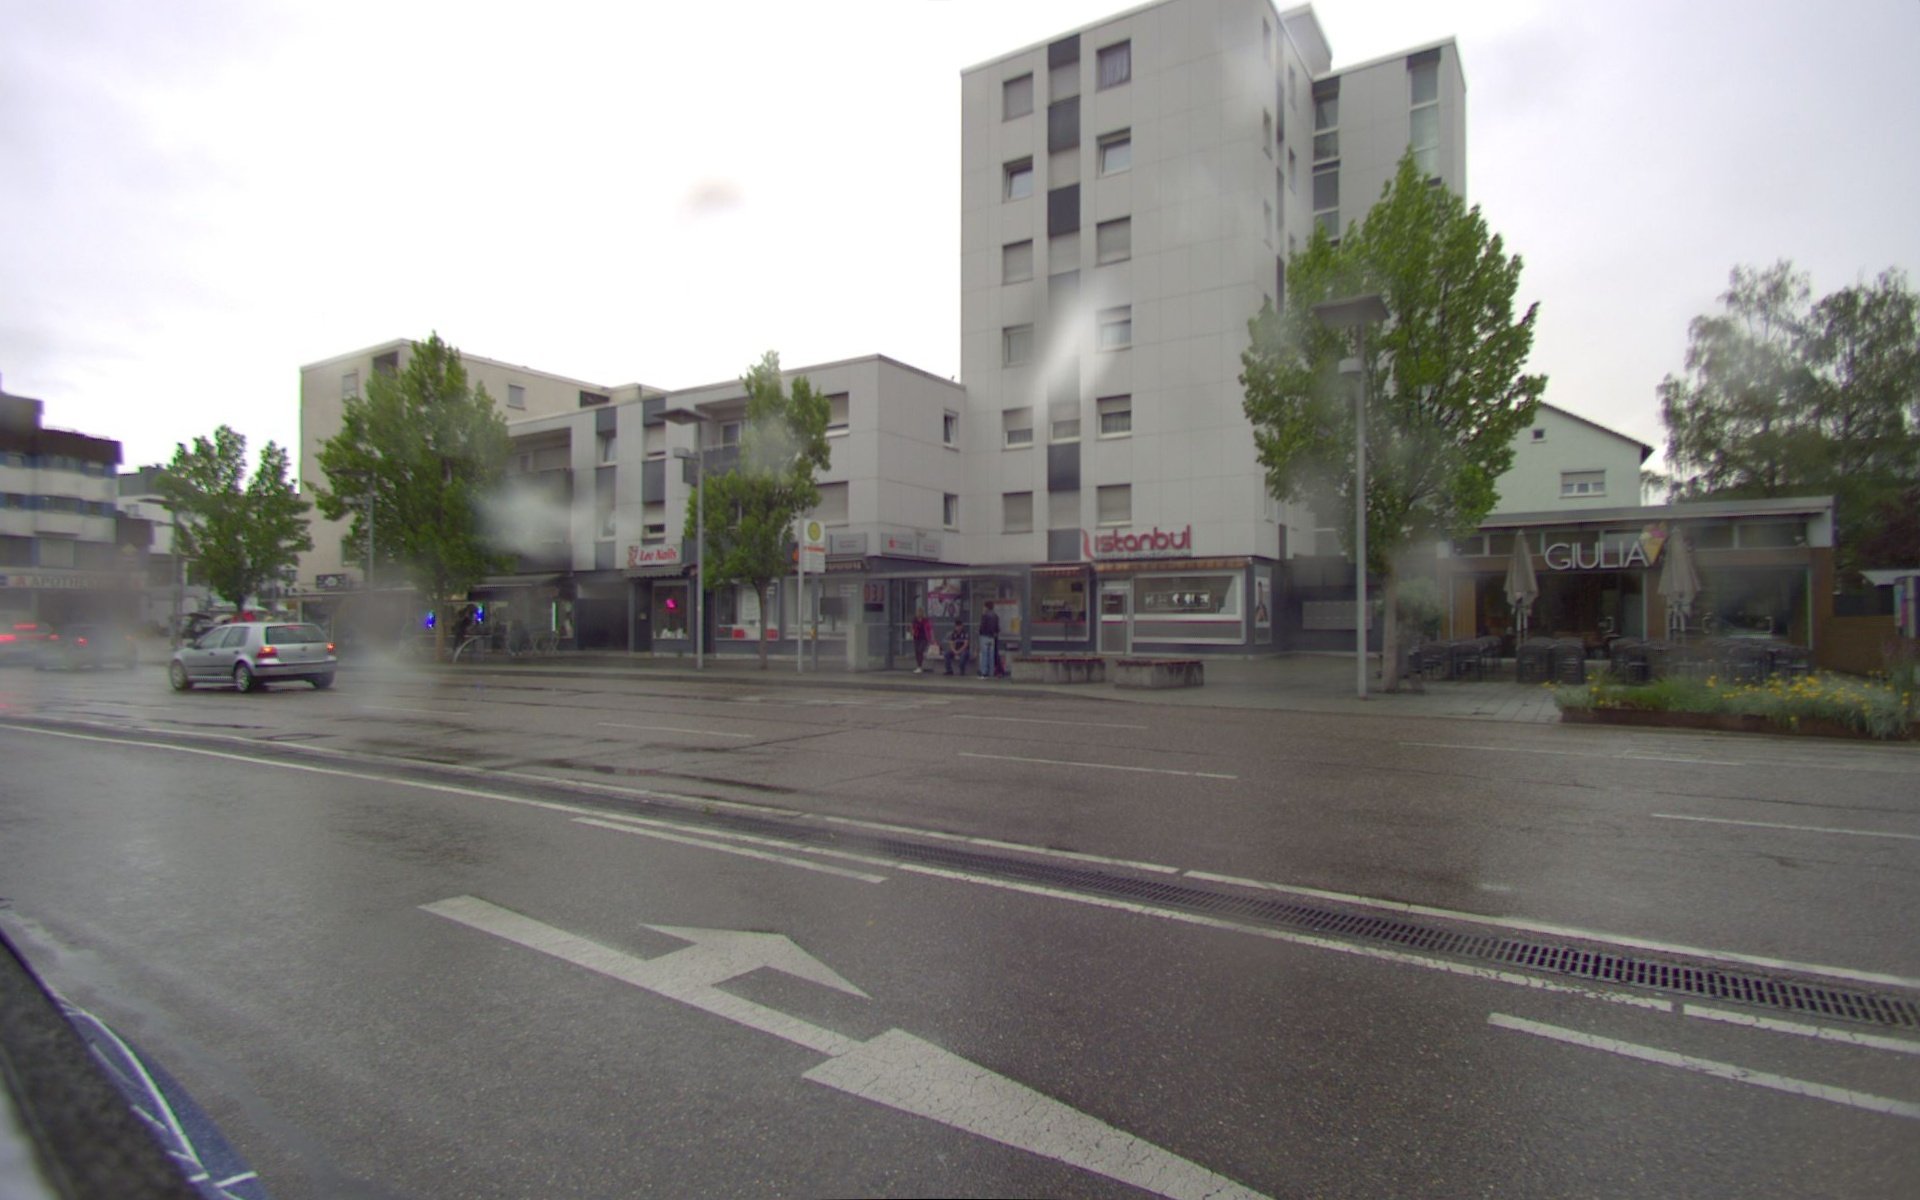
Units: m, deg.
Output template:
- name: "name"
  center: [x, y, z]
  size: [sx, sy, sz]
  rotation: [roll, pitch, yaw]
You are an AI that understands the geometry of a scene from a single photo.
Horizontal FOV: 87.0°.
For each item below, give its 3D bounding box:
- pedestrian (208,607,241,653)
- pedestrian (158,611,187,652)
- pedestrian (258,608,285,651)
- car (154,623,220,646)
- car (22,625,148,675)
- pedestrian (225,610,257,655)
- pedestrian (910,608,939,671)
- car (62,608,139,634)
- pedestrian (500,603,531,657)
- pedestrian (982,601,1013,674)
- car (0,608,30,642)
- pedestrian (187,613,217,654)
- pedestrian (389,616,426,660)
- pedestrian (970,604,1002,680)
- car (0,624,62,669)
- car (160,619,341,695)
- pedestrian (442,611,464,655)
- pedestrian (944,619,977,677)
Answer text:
- name: "pedestrian"
  center: [-32.949, 1.320, 45.316]
  size: [0.974, 2.029, 0.896]
  rotation: [-2, -2, 31]
- name: "pedestrian"
  center: [-37.477, 1.513, 48.168]
  size: [0.976, 1.929, 0.894]
  rotation: [-2, -2, 39]
- name: "pedestrian"
  center: [-32.926, 1.402, 48.389]
  size: [0.861, 2.029, 0.753]
  rotation: [-2, -2, 31]
- name: "car"
  center: [-59.562, 2.654, 78.048]
  size: [1.730, 1.733, 3.878]
  rotation: [-1, -1, 14]
- name: "car"
  center: [-26.732, 1.515, 30.904]
  size: [3.984, 1.438, 1.745]
  rotation: [-2, -2, 30]
- name: "pedestrian"
  center: [-32.908, 1.466, 46.310]
  size: [0.974, 2.029, 0.896]
  rotation: [-2, -2, 31]
- name: "pedestrian"
  center: [-0.861, 0.968, 24.748]
  size: [0.608, 1.516, 0.535]
  rotation: [-1, -1, 9]
- name: "car"
  center: [-60.568, 1.473, 71.414]
  size: [1.730, 1.733, 3.878]
  rotation: [-1, -1, 14]
- name: "pedestrian"
  center: [-17.094, 1.152, 38.932]
  size: [0.862, 2.029, 0.752]
  rotation: [-2, -2, 34]
- name: "pedestrian"
  center: [0.864, 0.854, 23.396]
  size: [0.479, 1.672, 0.530]
  rotation: [-2, -2, 38]
- name: "car"
  center: [-57.600, 1.485, 59.030]
  size: [1.983, 2.029, 4.572]
  rotation: [-1, -1, 17]
- name: "pedestrian"
  center: [-36.712, 1.617, 49.012]
  size: [0.974, 1.929, 0.896]
  rotation: [-2, -2, 31]
- name: "pedestrian"
  center: [-21.176, 1.456, 38.803]
  size: [0.724, 1.658, 1.000]
  rotation: [-1, -1, 32]
- name: "pedestrian"
  center: [0.587, 0.933, 22.776]
  size: [0.535, 1.672, 0.474]
  rotation: [-1, -1, 33]
- name: "car"
  center: [-32.529, 1.562, 34.789]
  size: [4.882, 1.438, 1.740]
  rotation: [-1, -1, 39]
- name: "car"
  center: [-15.199, 1.175, 21.630]
  size: [4.090, 1.477, 1.687]
  rotation: [-1, -2, 32]
- name: "pedestrian"
  center: [-20.710, 1.340, 41.351]
  size: [0.679, 1.763, 0.543]
  rotation: [-2, -2, 34]
- name: "pedestrian"
  center: [0.007, 1.130, 24.108]
  size: [0.578, 1.363, 0.530]
  rotation: [-2, -2, 38]
